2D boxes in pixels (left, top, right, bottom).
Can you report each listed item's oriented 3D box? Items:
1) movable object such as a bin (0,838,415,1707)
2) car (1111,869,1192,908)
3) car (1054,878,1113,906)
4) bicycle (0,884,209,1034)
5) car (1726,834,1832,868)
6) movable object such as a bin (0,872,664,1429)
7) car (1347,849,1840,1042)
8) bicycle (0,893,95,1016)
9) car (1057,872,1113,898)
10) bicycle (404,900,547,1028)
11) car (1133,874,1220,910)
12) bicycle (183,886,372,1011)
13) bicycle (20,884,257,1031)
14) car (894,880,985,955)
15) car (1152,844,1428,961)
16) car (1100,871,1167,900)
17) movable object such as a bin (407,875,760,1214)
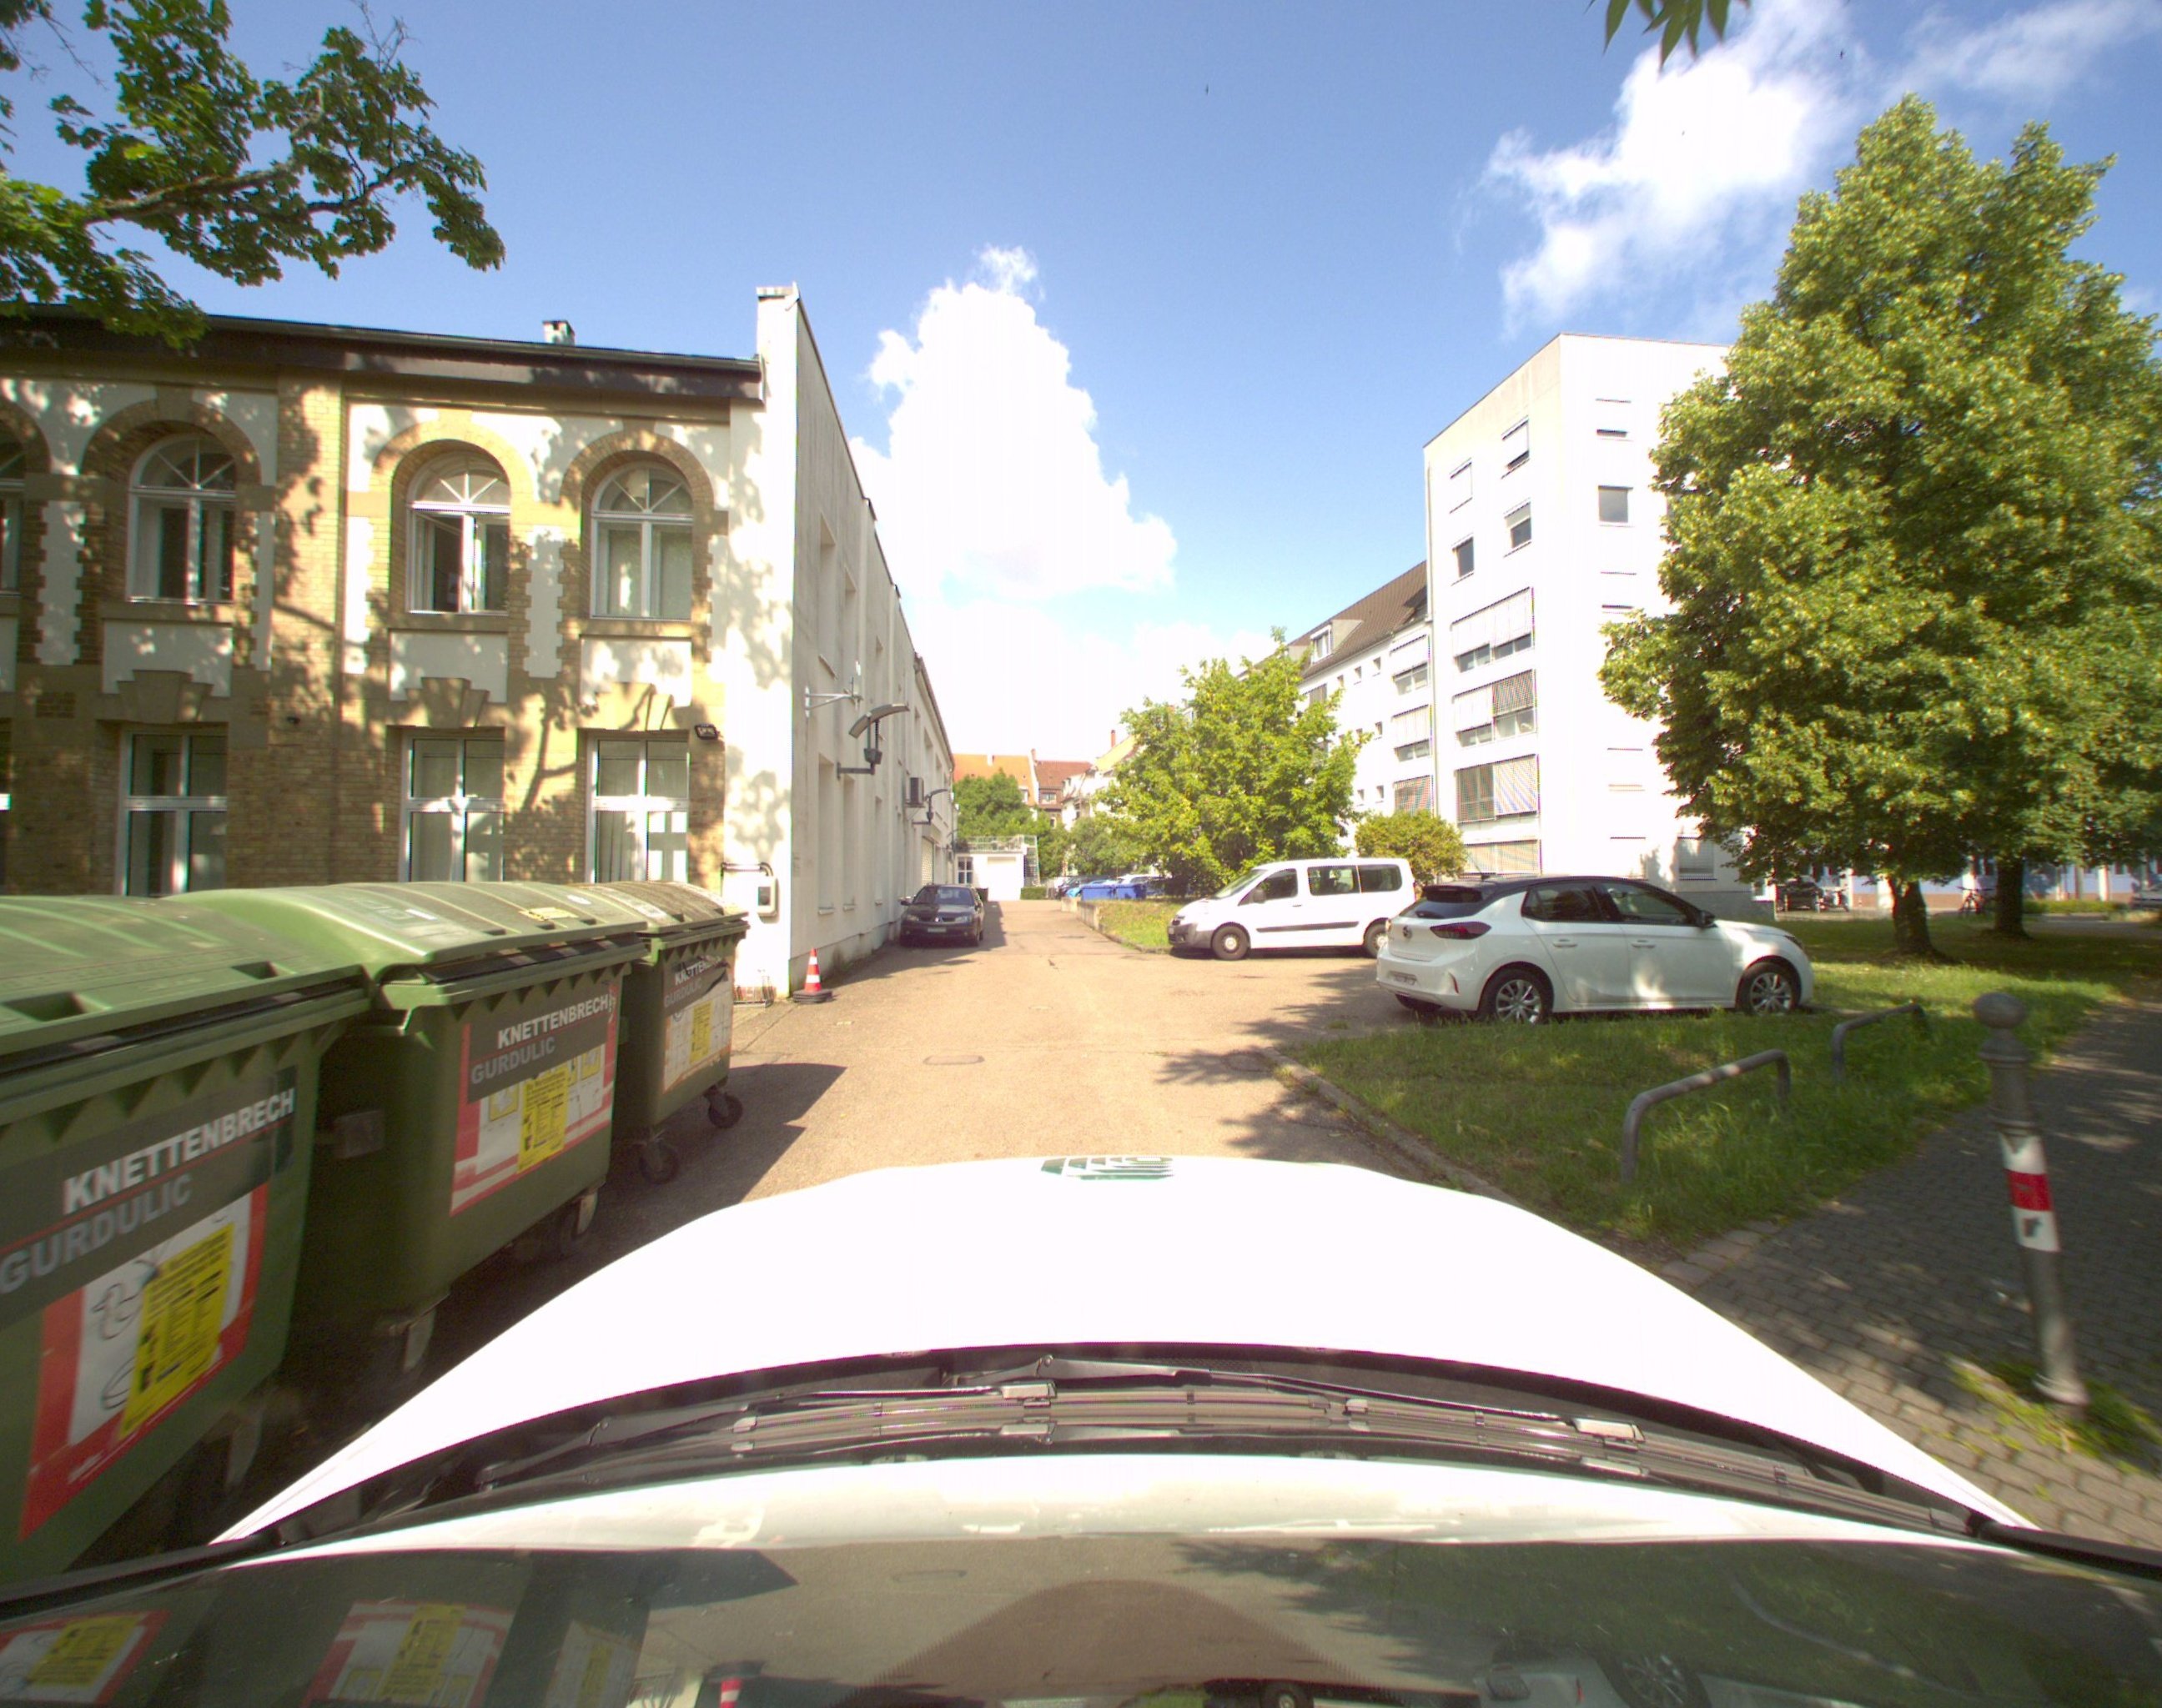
[{"bbox_3d":[-2.214,0.707,1.537,1.103,1.451,1.226,-1,2,-20],"label":"movable object such as a bin"},{"bbox_3d":[3.826,1.833,44.466,3.990,1.745,1.942,-3,3,-12],"label":"car"},{"bbox_3d":[0.184,2.697,58.681,3.990,1.573,1.623,-3,4,-12],"label":"car"},{"bbox_3d":[-9.891,0.973,8.026,0.417,1.215,2.065,0,2,-3],"label":"bicycle"},{"bbox_3d":[34.164,-0.182,39.911,3.899,1.420,1.755,-3,1,-6],"label":"car"},{"bbox_3d":[-2.419,0.828,2.899,1.221,1.451,1.281,0,2,-4],"label":"movable object such as a bin"},{"bbox_3d":[4.886,0.770,8.050,3.901,1.420,1.754,-3,1,-8],"label":"car"},{"bbox_3d":[-11.075,1.088,7.923,0.417,1.122,2.066,0,5,-3],"label":"bicycle"},{"bbox_3d":[0.304,2.314,61.487,3.990,1.816,1.657,-1,2,-12],"label":"car"},{"bbox_3d":[-6.208,1.070,8.465,0.319,1.037,1.855,0,1,-8],"label":"bicycle"},{"bbox_3d":[4.857,1.920,41.679,4.116,1.606,1.748,-1,2,-12],"label":"car"},{"bbox_3d":[-8.235,0.912,8.457,0.319,1.037,1.855,0,1,-8],"label":"bicycle"},{"bbox_3d":[-9.126,0.936,8.008,0.356,1.142,1.855,0,2,-8],"label":"bicycle"},{"bbox_3d":[-3.304,1.437,19.745,1.877,1.442,4.331,-1,0,-6],"label":"car"},{"bbox_3d":[4.065,0.899,16.316,4.932,1.964,1.996,-2,0,-6],"label":"car"},{"bbox_3d":[3.348,1.992,52.315,3.990,1.444,1.623,-4,4,-12],"label":"car"},{"bbox_3d":[-2.522,0.880,4.388,1.097,1.451,1.341,0,2,-5],"label":"movable object such as a bin"}]
